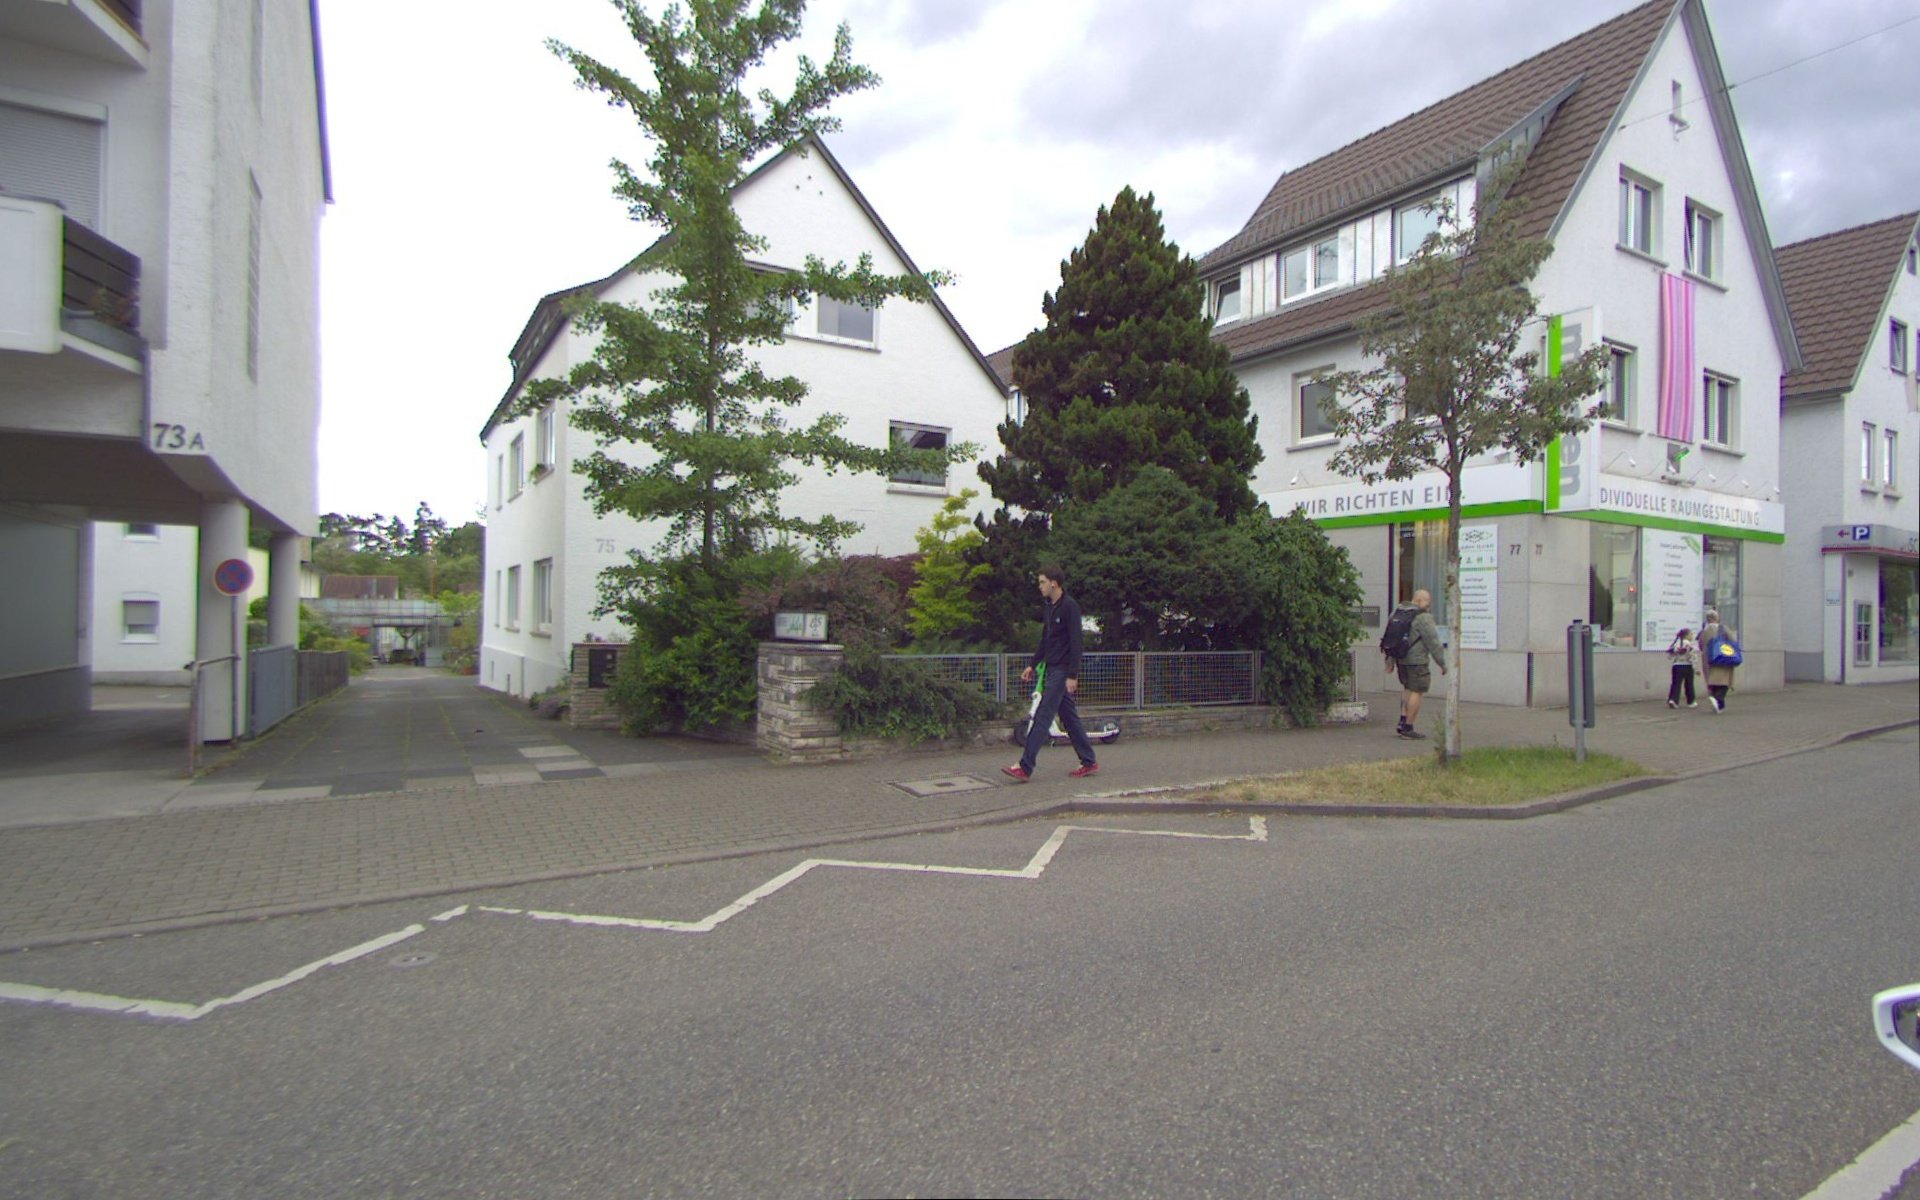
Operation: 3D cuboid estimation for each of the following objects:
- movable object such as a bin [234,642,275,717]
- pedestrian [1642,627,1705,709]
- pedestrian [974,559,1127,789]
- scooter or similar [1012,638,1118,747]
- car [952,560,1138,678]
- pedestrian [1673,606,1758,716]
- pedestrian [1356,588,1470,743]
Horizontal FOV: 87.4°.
[{"bbox_3d":[-10.392,1.163,14.804,0.436,1.071,0.486,1,-2,-31],"label":"movable object such as a bin"},{"bbox_3d":[11.808,1.106,16.633,0.647,1.297,0.596,1,1,-30],"label":"pedestrian"},{"bbox_3d":[0.785,0.604,8.796,1.007,1.874,0.747,1,3,-30],"label":"pedestrian"},{"bbox_3d":[1.150,0.984,10.935,1.166,1.126,0.338,1,0,-31],"label":"scooter or similar"},{"bbox_3d":[1.862,0.480,24.041,1.974,2.496,5.280,1,-2,-27],"label":"car"},{"bbox_3d":[11.900,0.933,15.831,0.783,1.638,0.748,1,3,-30],"label":"pedestrian"},{"bbox_3d":[5.469,0.759,12.141,1.007,1.767,0.748,1,2,-30],"label":"pedestrian"}]
